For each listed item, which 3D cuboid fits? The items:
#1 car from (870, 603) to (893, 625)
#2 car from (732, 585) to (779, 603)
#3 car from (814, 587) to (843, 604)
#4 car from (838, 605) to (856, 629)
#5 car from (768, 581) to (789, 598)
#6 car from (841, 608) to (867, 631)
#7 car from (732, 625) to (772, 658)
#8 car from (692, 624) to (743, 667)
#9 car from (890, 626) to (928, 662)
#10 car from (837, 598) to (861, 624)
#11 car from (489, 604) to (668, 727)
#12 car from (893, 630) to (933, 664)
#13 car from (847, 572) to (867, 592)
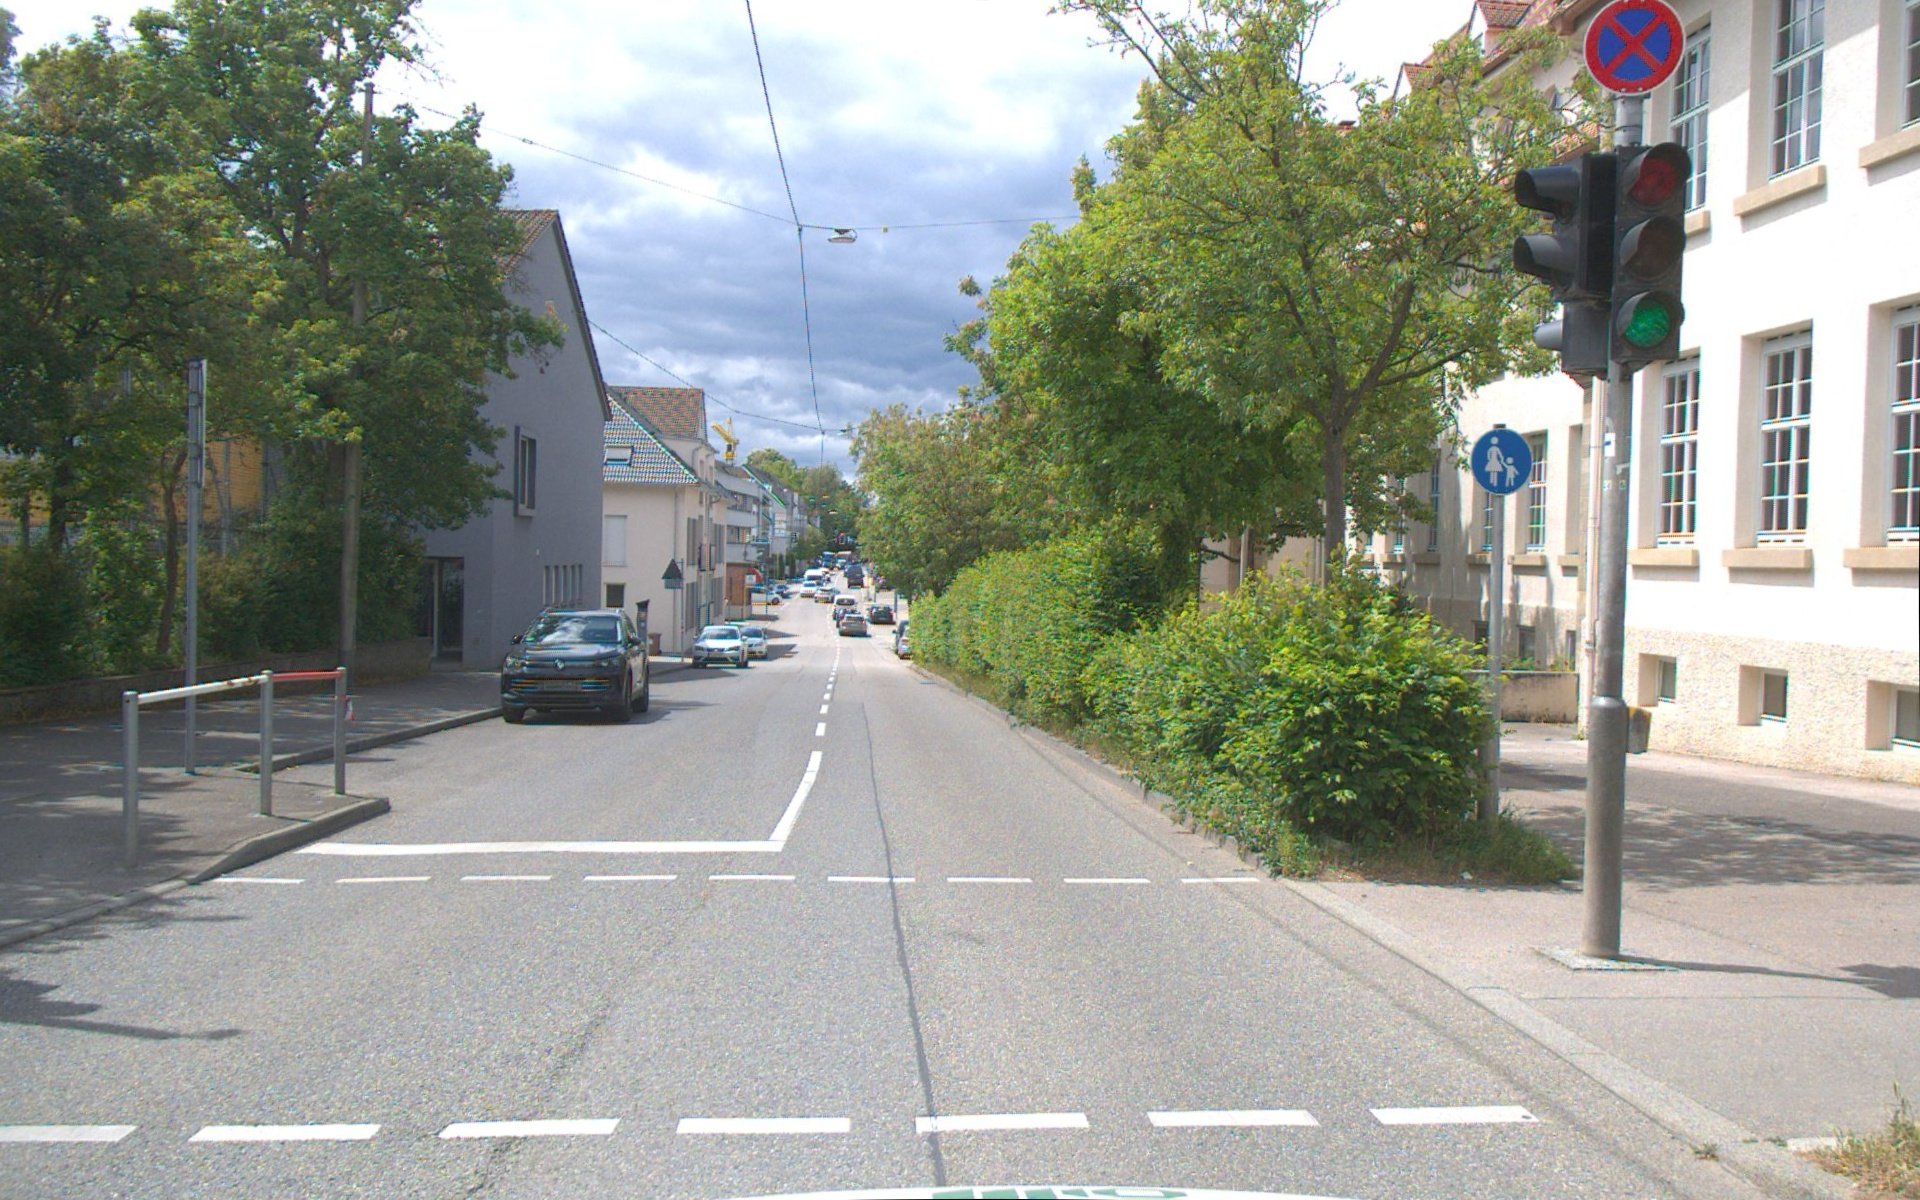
[{"bbox_3d":[-6.084,1.075,128.277,1.718,1.394,3.999,2,2,-3],"label":"car"},{"bbox_3d":[-18.681,-0.502,150.974,3.955,1.585,1.764,1,-1,-36],"label":"car"},{"bbox_3d":[-12.825,-0.469,161.561,1.745,1.518,4.003,3,-1,12],"label":"car"},{"bbox_3d":[-8.278,1.251,121.069,1.249,1.553,3.048,1,3,-5],"label":"car"},{"bbox_3d":[-18.724,-1.088,170.825,1.835,1.668,3.998,3,0,-2],"label":"car"},{"bbox_3d":[-7.244,1.317,112.391,1.710,1.441,3.997,1,0,-4],"label":"car"},{"bbox_3d":[-9.576,1.894,76.416,1.615,1.443,3.695,2,-1,-4],"label":"car"},{"bbox_3d":[-8.541,1.628,58.430,1.665,1.415,3.859,1,-3,-7],"label":"car"},{"bbox_3d":[-2.745,2.306,87.734,1.808,1.798,4.511,2,-1,-4],"label":"car"},{"bbox_3d":[-8.847,0.862,131.568,1.800,1.894,3.848,2,2,-4],"label":"car"},{"bbox_3d":[-5.657,0.906,25.079,1.759,1.638,4.643,1,0,-2],"label":"car"},{"bbox_3d":[-2.358,2.297,82.011,1.751,1.535,4.361,2,-1,-4],"label":"car"},{"bbox_3d":[-13.239,-2.270,212.116,2.388,2.359,5.322,3,0,-4],"label":"car"}]
